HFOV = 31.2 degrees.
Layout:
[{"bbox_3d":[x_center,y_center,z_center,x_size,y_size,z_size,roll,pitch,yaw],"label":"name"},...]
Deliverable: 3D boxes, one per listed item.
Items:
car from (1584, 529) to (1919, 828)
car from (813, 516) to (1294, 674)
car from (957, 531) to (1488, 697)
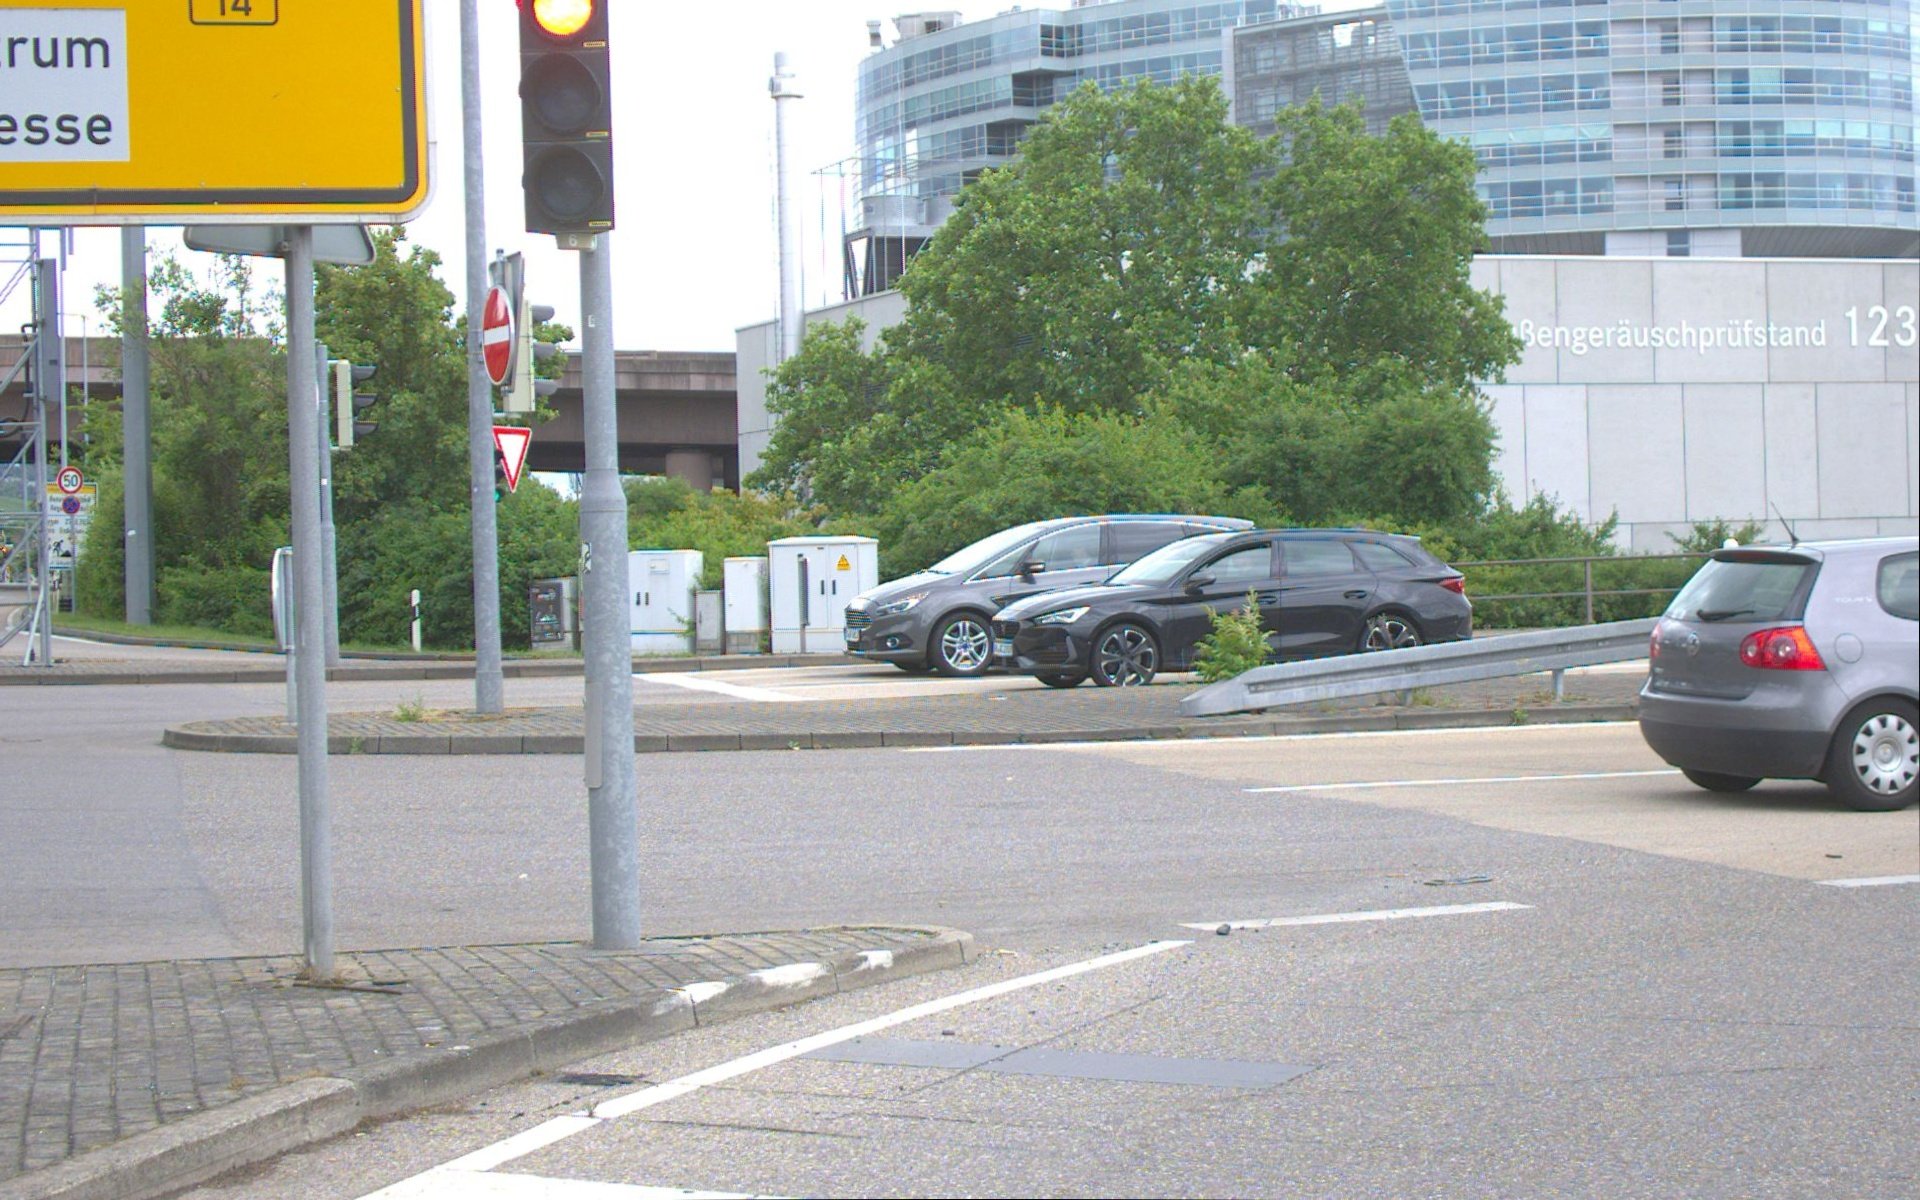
[{"bbox_3d":[5.789,0.335,19.065,4.229,1.456,1.730,-2,2,-18],"label":"car"},{"bbox_3d":[0.968,-0.089,36.268,4.677,1.566,1.956,0,2,-17],"label":"car"},{"bbox_3d":[2.467,0.090,32.497,4.604,1.452,1.956,-1,2,-19],"label":"car"}]
